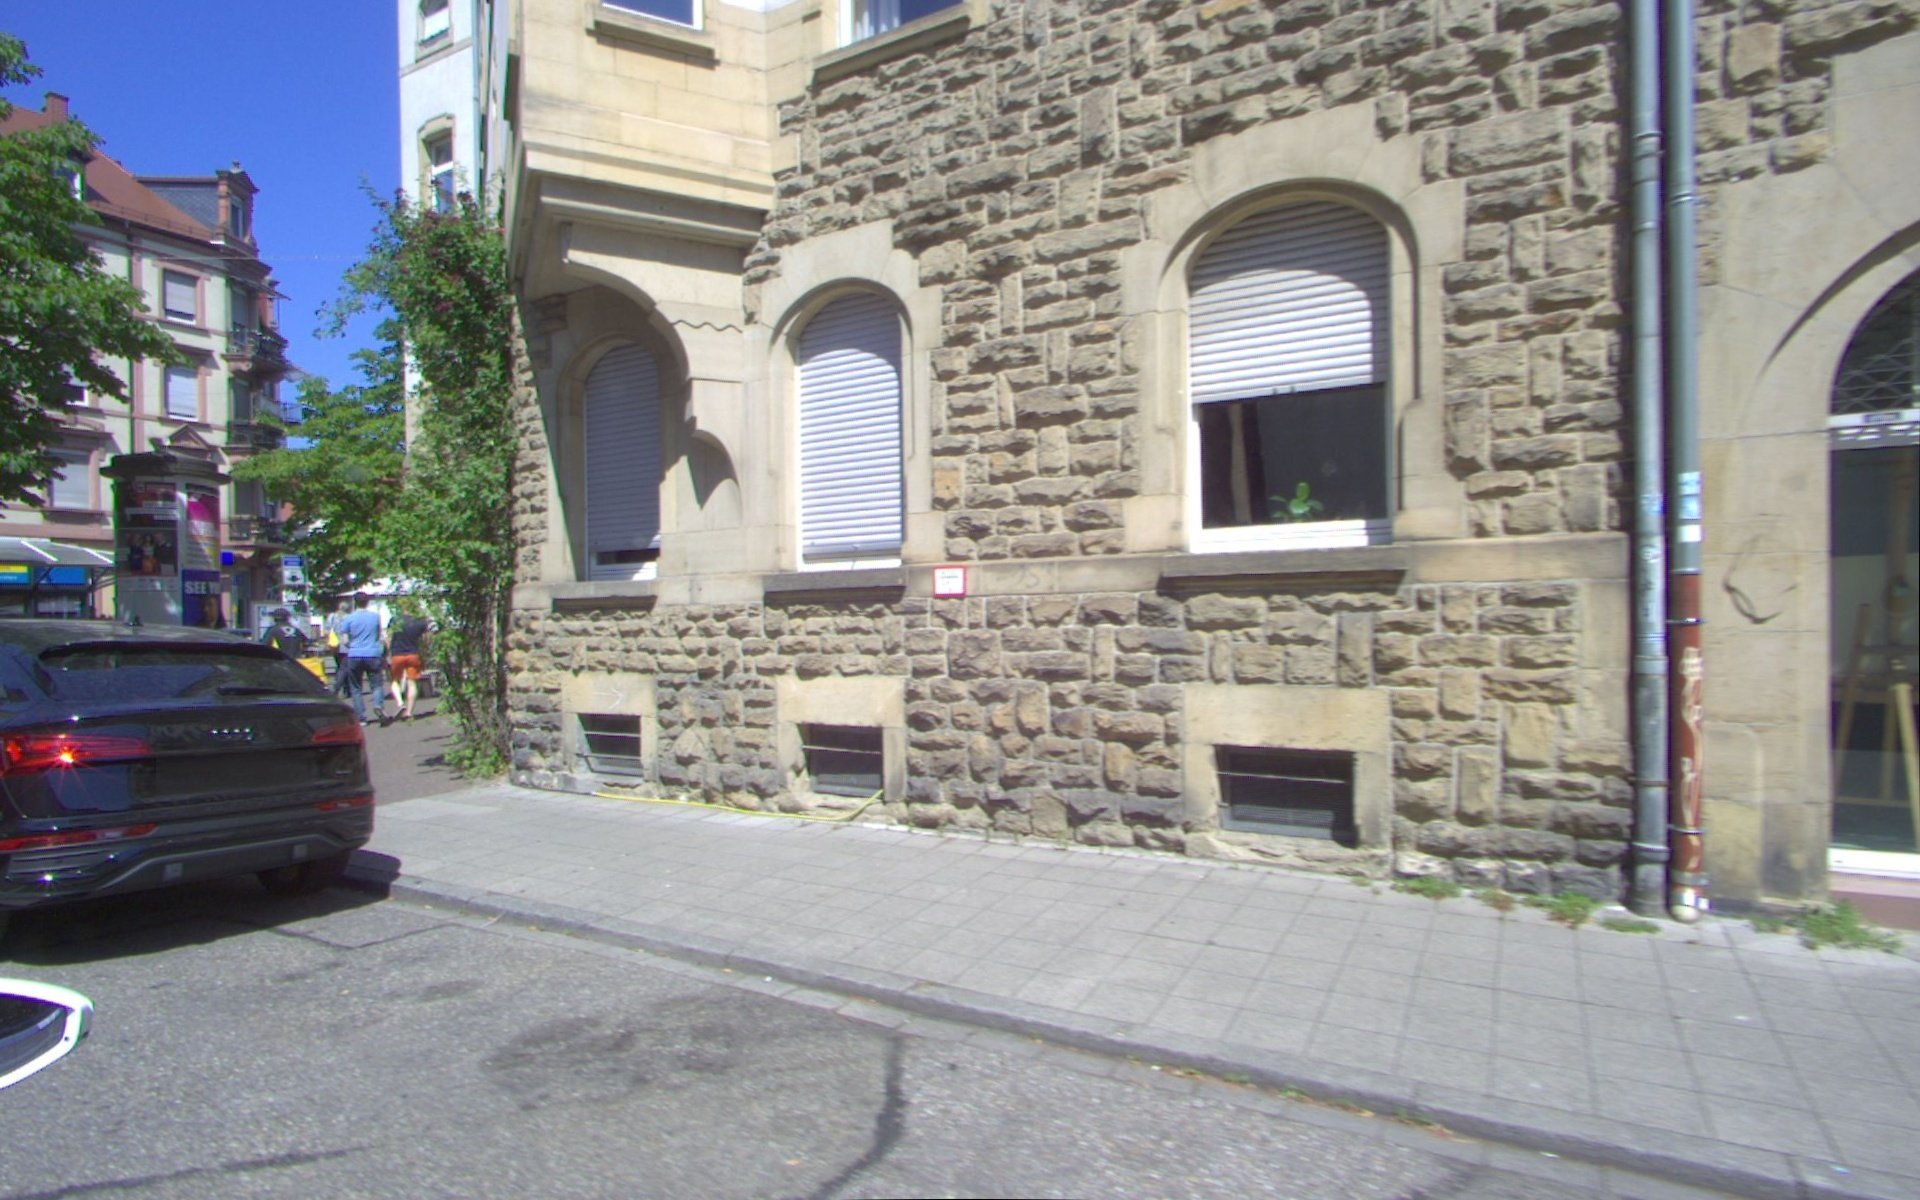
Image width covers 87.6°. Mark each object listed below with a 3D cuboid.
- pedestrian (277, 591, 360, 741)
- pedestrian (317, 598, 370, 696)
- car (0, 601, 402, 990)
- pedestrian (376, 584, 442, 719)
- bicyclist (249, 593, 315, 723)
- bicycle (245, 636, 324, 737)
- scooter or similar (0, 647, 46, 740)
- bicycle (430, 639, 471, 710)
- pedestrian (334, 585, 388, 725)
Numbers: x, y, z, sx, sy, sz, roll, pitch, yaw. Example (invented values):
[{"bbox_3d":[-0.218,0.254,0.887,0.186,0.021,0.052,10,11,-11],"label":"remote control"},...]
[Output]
[{"bbox_3d":[-7.826,0.783,12.226,0.606,1.775,0.637,-1,0,33],"label":"pedestrian"},{"bbox_3d":[-11.707,0.877,19.042,0.572,1.817,0.749,-1,0,-8],"label":"pedestrian"},{"bbox_3d":[-5.489,0.889,5.946,4.280,1.616,1.735,-1,-3,28],"label":"car"},{"bbox_3d":[-8.052,0.744,14.631,0.873,1.904,0.596,-1,-1,43],"label":"pedestrian"},{"bbox_3d":[-9.011,0.745,13.336,0.670,1.669,0.658,-1,0,-32],"label":"bicyclist"},{"bbox_3d":[-9.032,1.094,13.432,0.786,1.184,2.562,-1,0,-33],"label":"bicycle"},{"bbox_3d":[-12.645,1.217,13.247,0.436,1.151,1.181,-1,0,-23],"label":"scooter or similar"},{"bbox_3d":[-8.369,1.188,16.459,0.541,1.053,1.829,-1,0,-27],"label":"bicycle"},{"bbox_3d":[-8.343,0.750,13.948,0.515,1.893,0.647,0,-1,-43],"label":"pedestrian"}]
